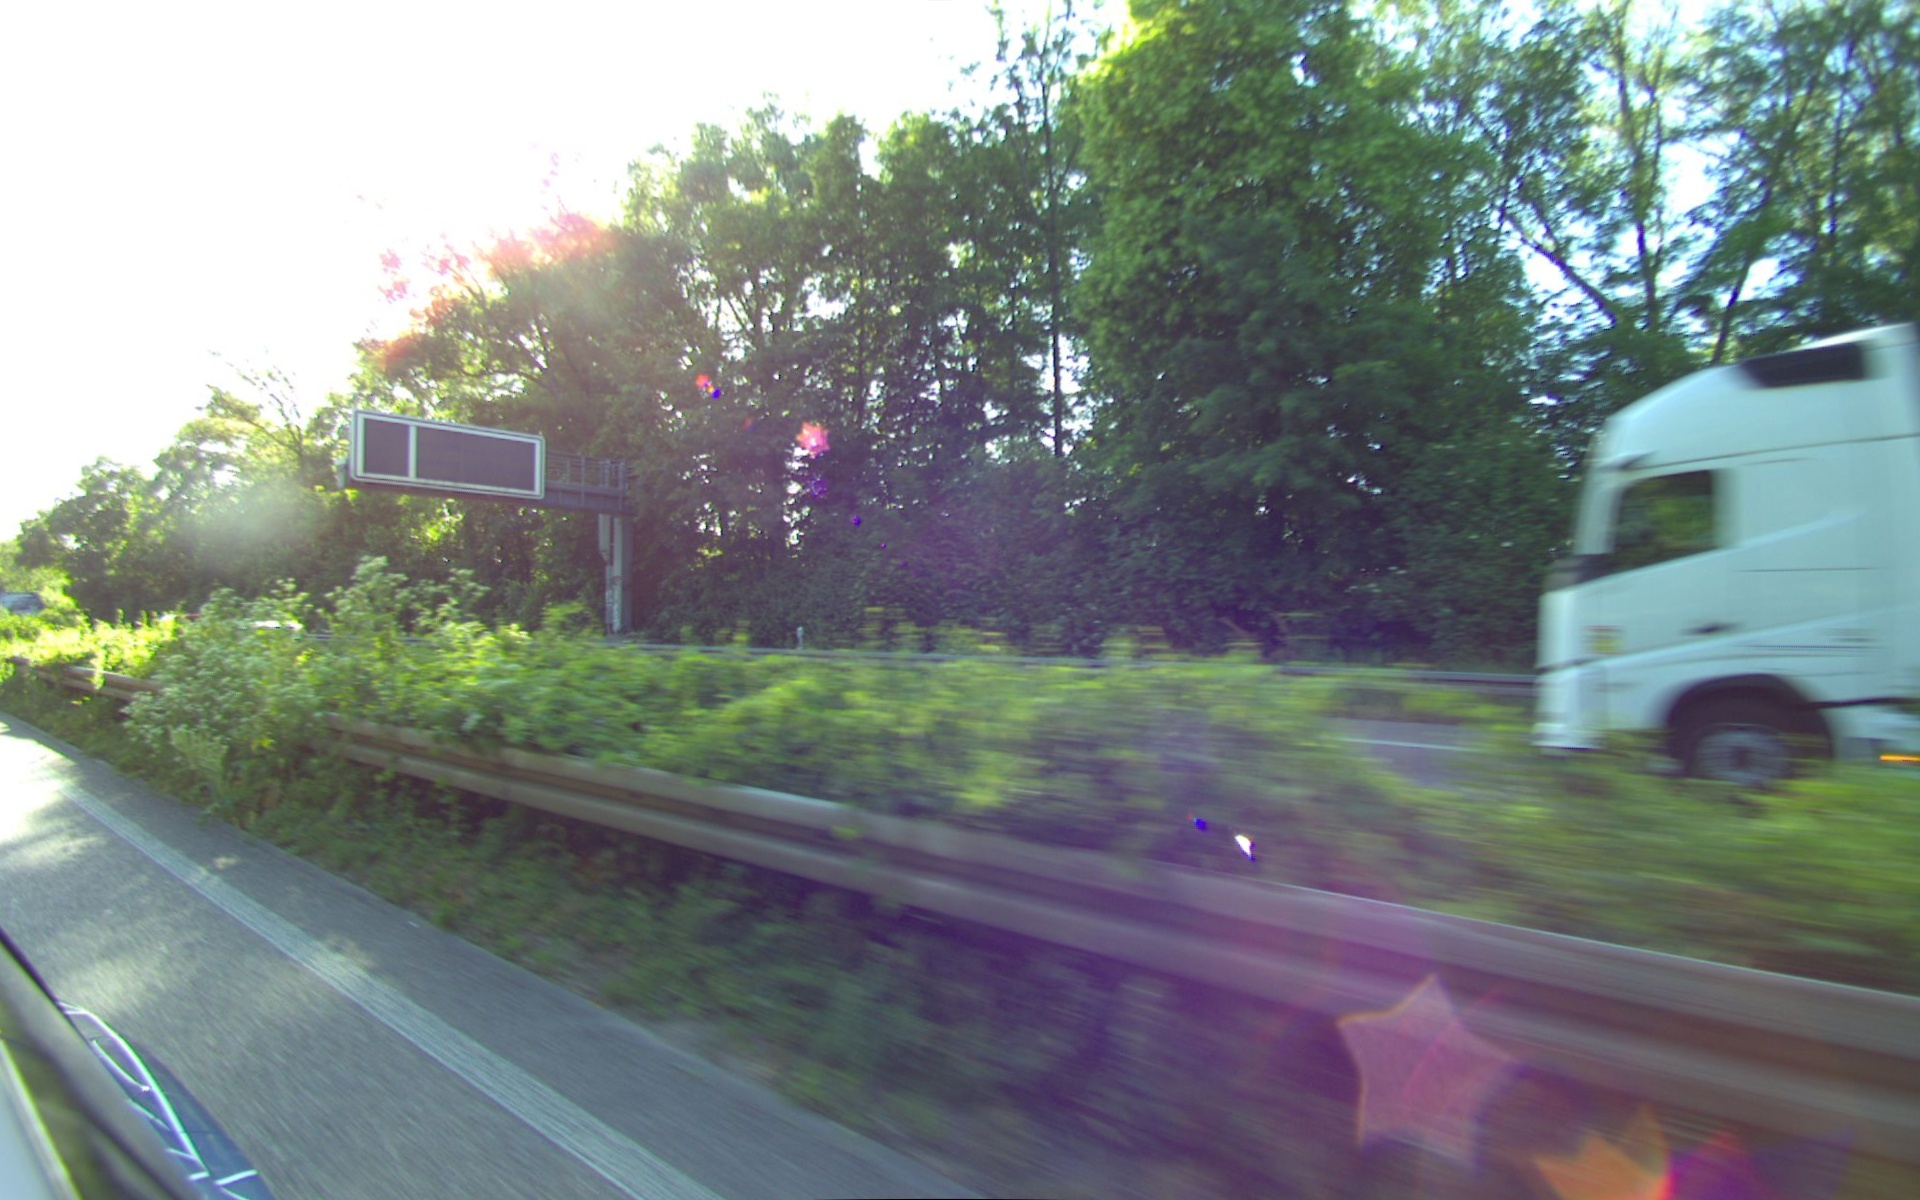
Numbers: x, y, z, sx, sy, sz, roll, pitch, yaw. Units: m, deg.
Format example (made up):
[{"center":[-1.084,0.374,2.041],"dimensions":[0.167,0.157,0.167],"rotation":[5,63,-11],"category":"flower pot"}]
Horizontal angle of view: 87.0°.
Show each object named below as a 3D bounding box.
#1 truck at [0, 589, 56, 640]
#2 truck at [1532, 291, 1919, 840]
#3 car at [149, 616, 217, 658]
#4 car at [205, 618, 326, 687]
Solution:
[{"center":[-76.378,1.140,82.496],"dimensions":[11.463,3.985,2.740],"rotation":[-1,0,42],"category":"truck"},{"center":[8.357,-0.270,8.450],"dimensions":[5.674,4.043,3.195],"rotation":[-1,0,41],"category":"truck"},{"center":[-35.966,1.673,46.805],"dimensions":[4.524,1.824,1.699],"rotation":[-1,0,41],"category":"car"},{"center":[-18.580,1.334,27.019],"dimensions":[3.987,1.628,1.743],"rotation":[-1,0,41],"category":"car"}]
